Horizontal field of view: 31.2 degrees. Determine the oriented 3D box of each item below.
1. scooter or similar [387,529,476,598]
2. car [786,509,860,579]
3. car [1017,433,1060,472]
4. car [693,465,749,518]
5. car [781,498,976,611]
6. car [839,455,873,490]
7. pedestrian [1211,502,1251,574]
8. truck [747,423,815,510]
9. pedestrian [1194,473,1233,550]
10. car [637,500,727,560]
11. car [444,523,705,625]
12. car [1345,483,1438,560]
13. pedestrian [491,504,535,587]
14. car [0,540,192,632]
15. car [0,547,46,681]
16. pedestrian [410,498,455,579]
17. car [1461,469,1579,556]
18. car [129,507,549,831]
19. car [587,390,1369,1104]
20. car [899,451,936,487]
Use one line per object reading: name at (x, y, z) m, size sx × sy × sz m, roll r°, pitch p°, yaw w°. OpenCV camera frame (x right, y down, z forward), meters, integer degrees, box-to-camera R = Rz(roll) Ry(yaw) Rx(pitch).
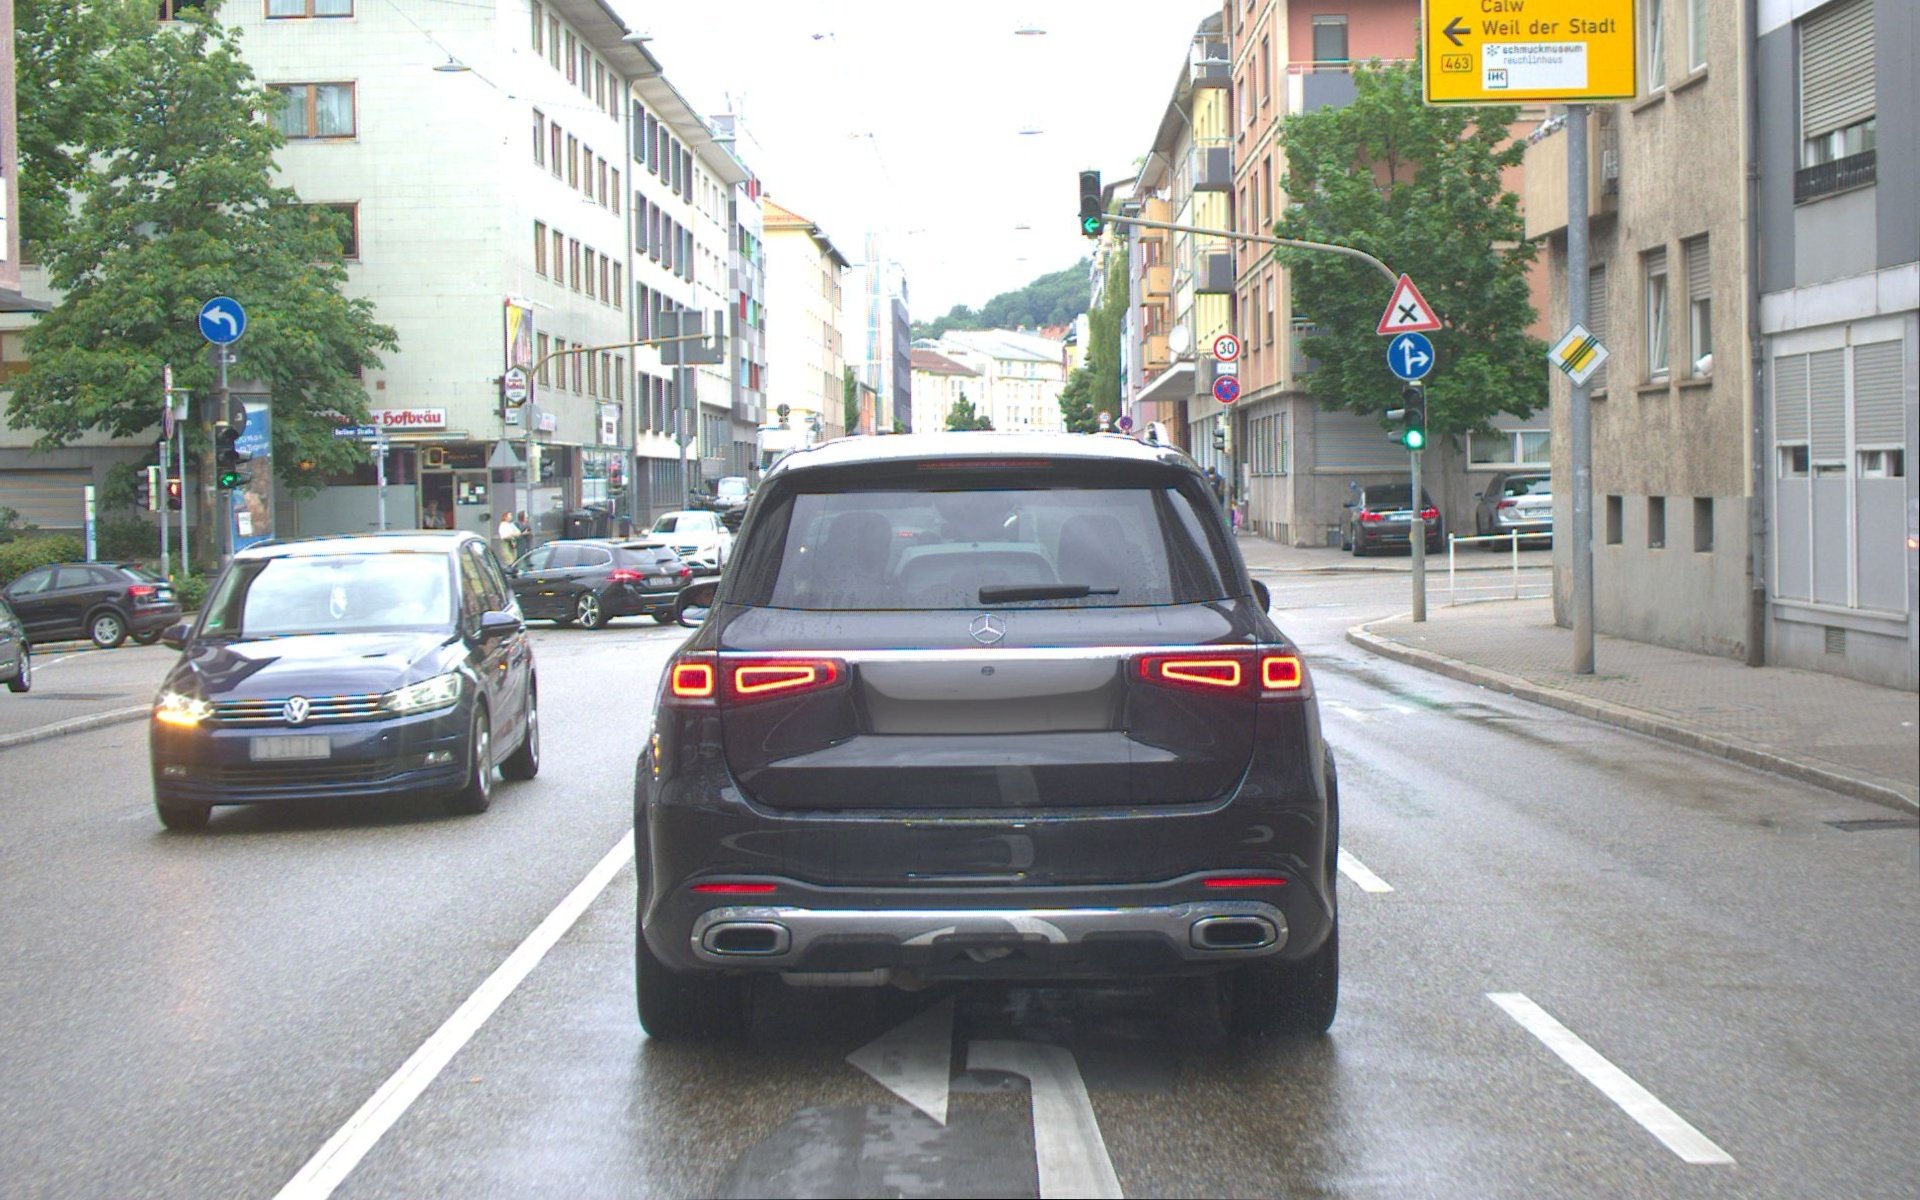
scooter or similar at (-11.444, -0.801, 74.525) m, size 0.877 × 1.455 × 1.853 m, roll 0°, pitch 1°, yaw 34°
car at (-3.198, -1.279, 80.230) m, size 1.618 × 1.534 × 4.218 m, roll -2°, pitch 0°, yaw -2°
car at (3.727, -7.032, 164.366) m, size 1.723 × 1.753 × 4.218 m, roll -2°, pitch 2°, yaw -2°
car at (-7.666, -3.470, 110.661) m, size 1.618 × 1.534 × 4.218 m, roll -2°, pitch 0°, yaw -2°
car at (-1.244, -0.646, 50.680) m, size 1.772 × 1.534 × 3.764 m, roll -2°, pitch 0°, yaw -19°
car at (-5.233, -6.388, 172.496) m, size 1.618 × 1.534 × 4.218 m, roll -2°, pitch 0°, yaw -2°
pedestrian at (6.868, -1.566, 87.159) m, size 0.923 × 1.798 × 0.706 m, roll -1°, pitch 1°, yaw -2°
truck at (-7.036, -5.212, 136.067) m, size 2.479 × 3.035 × 9.921 m, roll -2°, pitch 0°, yaw -2°
pedestrian at (6.706, -2.334, 90.955) m, size 0.923 × 2.007 × 0.706 m, roll -1°, pitch 1°, yaw -2°
car at (-6.427, -1.615, 79.814) m, size 1.885 × 1.260 × 4.218 m, roll -2°, pitch 0°, yaw -2°
car at (-6.447, -0.421, 57.281) m, size 4.354 × 1.534 × 1.774 m, roll -2°, pitch 0°, yaw 40°
car at (9.212, -1.667, 73.517) m, size 1.671 × 1.583 × 3.330 m, roll -1°, pitch 1°, yaw 2°
pedestrian at (-9.545, -1.163, 73.393) m, size 0.636 × 1.758 × 0.772 m, roll -1°, pitch 1°, yaw 17°
car at (-16.265, -0.226, 61.974) m, size 4.347 × 1.534 × 1.777 m, roll -2°, pitch 0°, yaw 12°
car at (-13.027, 0.194, 43.147) m, size 1.993 × 1.667 × 4.259 m, roll -1°, pitch 1°, yaw -1°
pedestrian at (-12.408, -1.443, 80.912) m, size 0.923 × 1.895 × 0.706 m, roll -1°, pitch 1°, yaw -2°
car at (11.939, -1.857, 73.467) m, size 1.823 × 1.789 × 3.832 m, roll -1°, pitch 1°, yaw -1°
car at (-3.548, 0.306, 20.398) m, size 1.772 × 1.640 × 4.412 m, roll -2°, pitch 2°, yaw -2°
car at (0.040, 0.373, 11.205) m, size 1.985 × 1.799 × 4.390 m, roll 2°, pitch 0°, yaw 0°
car at (-2.049, -6.298, 165.997) m, size 1.618 × 1.534 × 4.218 m, roll -2°, pitch 0°, yaw -2°
